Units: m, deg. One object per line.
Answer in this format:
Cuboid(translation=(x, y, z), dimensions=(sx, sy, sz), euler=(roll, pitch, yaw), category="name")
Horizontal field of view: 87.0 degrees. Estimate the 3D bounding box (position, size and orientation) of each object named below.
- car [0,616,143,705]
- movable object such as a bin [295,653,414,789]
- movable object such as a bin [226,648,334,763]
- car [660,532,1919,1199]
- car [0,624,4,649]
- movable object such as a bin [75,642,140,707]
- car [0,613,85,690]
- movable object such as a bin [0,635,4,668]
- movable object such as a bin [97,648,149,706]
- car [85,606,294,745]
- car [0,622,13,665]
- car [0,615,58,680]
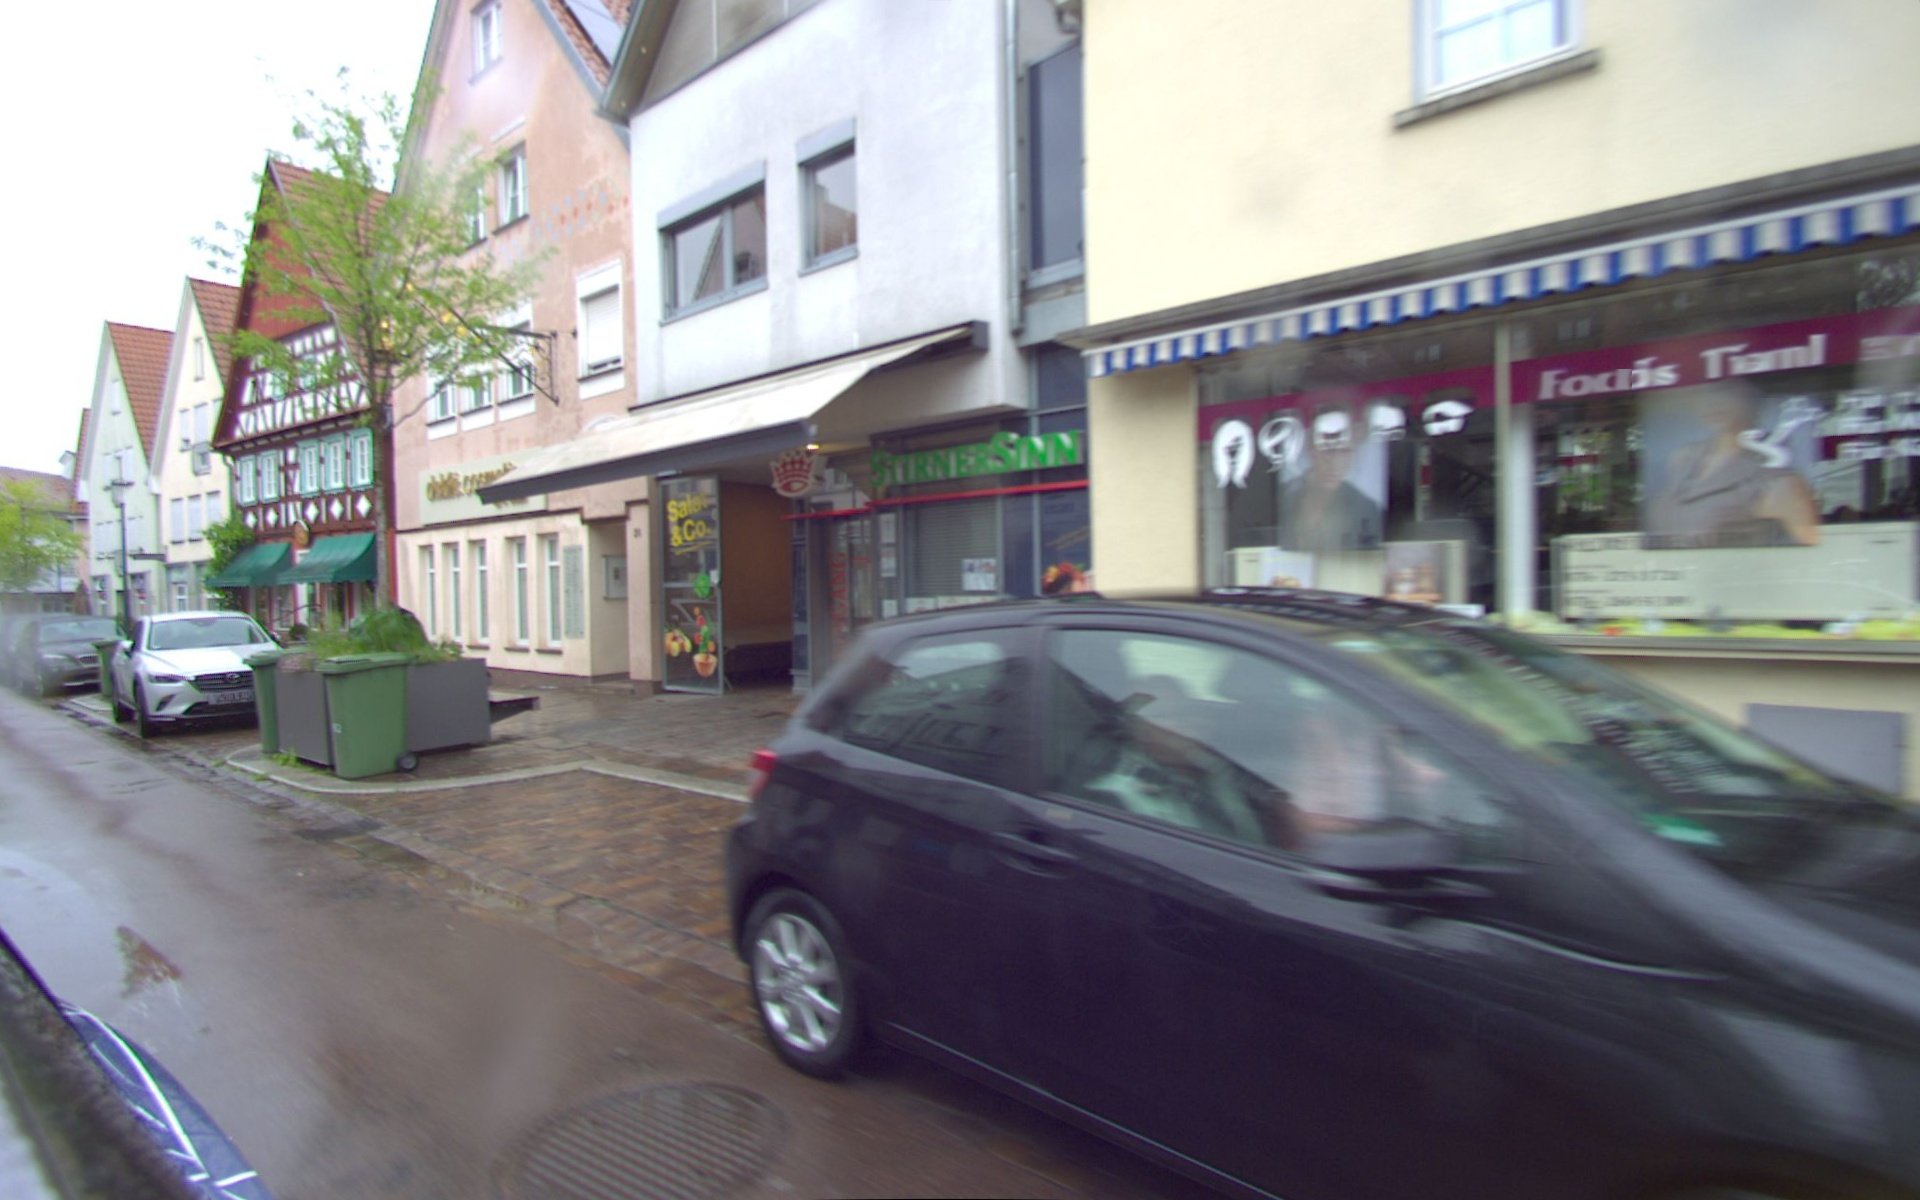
Cuboid(translation=(-18.612, 1.175, 21.064), dimensions=(4.288, 1.549, 1.761), euler=(-1, 2, 42), category="car")
Cuboid(translation=(-5.320, 1.029, 8.891), dimensions=(0.704, 1.060, 0.701), euler=(-2, 1, 44), category="movable object such as a bin")
Cuboid(translation=(-7.176, 1.082, 10.680), dimensions=(0.778, 1.093, 0.693), euler=(-4, 1, -45), category="movable object such as a bin")
Cuboid(translation=(1.000, 0.641, 2.664), dimensions=(3.885, 1.454, 1.673), euler=(-3, 1, 44), category="car")
Cuboid(translation=(-60.588, 2.318, 61.604), dimensions=(1.763, 1.567, 3.960), euler=(-1, 0, -14), category="car")
Cuboid(translation=(-15.621, 1.350, 18.546), dimensions=(0.675, 1.090, 0.762), euler=(0, 2, 38), category="movable object such as a bin")
Cuboid(translation=(-23.278, 1.273, 25.212), dimensions=(4.644, 1.678, 1.804), euler=(-3, 0, 44), category="car")
Cuboid(translation=(-32.902, 1.759, 34.207), dimensions=(0.744, 1.091, 0.739), euler=(0, 2, 40), category="movable object such as a bin")
Cuboid(translation=(-15.061, 1.376, 18.220), dimensions=(0.499, 0.945, 0.603), euler=(0, 2, 38), category="movable object such as a bin")
Cuboid(translation=(-10.709, 0.954, 13.953), dimensions=(4.122, 1.549, 1.673), euler=(-3, 1, 45), category="car")
Cuboid(translation=(-36.746, 1.671, 37.774), dimensions=(4.330, 1.536, 1.841), euler=(-2, 2, 45), category="car")
Cuboid(translation=(-28.244, 1.366, 30.146), dimensions=(1.803, 1.678, 4.646), euler=(-3, 3, -44), category="car")
